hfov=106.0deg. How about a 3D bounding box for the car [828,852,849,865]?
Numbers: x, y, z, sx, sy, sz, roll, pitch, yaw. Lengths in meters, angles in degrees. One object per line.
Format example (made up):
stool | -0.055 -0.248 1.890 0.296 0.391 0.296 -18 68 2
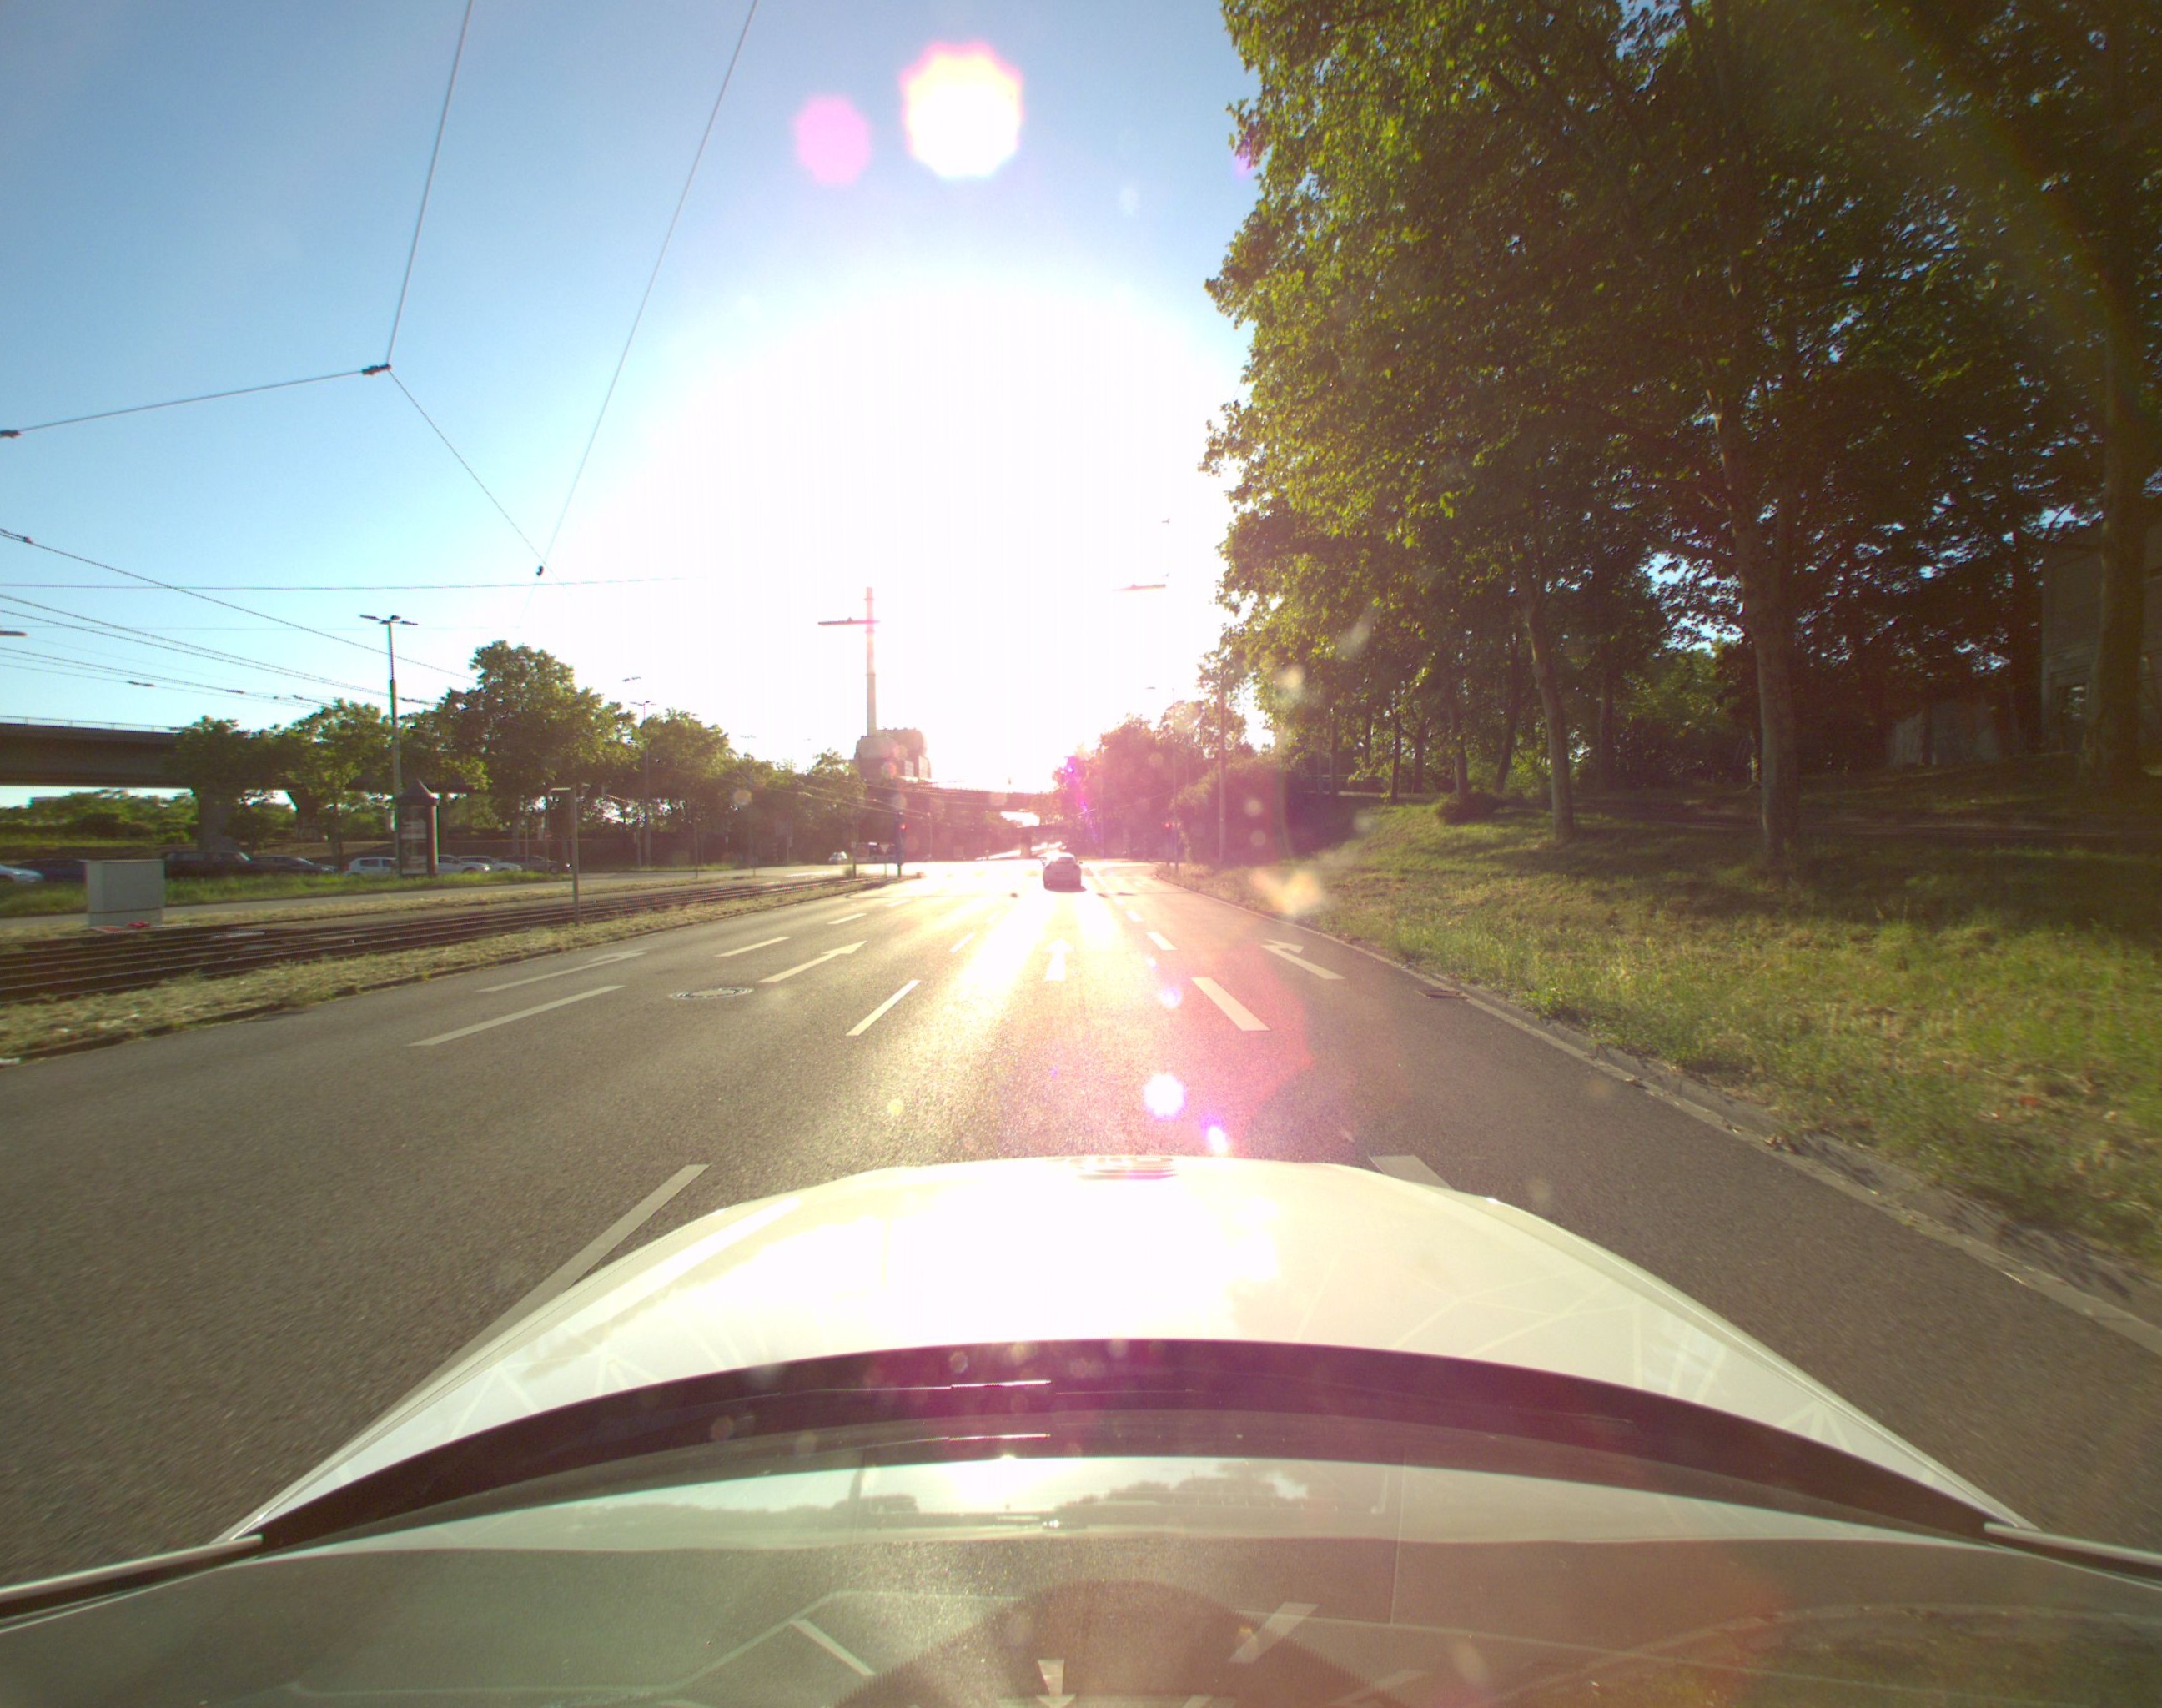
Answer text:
car | -29.972 0.551 100.676 1.603 1.512 4.004 0 0 -2

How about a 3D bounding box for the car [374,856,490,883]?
car | -40.440 0.941 50.912 5.375 1.574 1.727 0 0 -24

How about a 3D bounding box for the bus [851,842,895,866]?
bus | -29.617 0.114 116.576 2.534 3.130 12.923 -1 -1 2

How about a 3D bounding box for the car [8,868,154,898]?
car | -53.836 1.540 43.980 4.641 1.458 1.677 0 0 -32

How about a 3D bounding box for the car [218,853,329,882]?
car | -46.951 0.743 47.474 4.259 1.574 1.678 -1 0 -28

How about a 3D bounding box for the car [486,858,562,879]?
car | -40.278 1.013 59.020 4.460 1.405 1.654 0 0 -31

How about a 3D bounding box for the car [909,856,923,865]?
car | -28.868 1.107 142.295 1.601 1.419 4.009 0 0 1

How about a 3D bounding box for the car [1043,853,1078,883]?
car | -1.159 0.693 43.820 1.710 1.465 4.202 -1 1 -4

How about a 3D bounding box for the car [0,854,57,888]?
car | -53.745 0.792 39.478 4.781 1.574 1.678 1 1 -30

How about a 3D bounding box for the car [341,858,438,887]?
car | -40.192 1.032 47.452 4.009 1.574 1.679 0 0 -27

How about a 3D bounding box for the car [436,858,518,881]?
car | -40.670 1.017 54.921 4.207 1.405 1.655 0 0 -28

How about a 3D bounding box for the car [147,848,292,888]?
car | -46.070 0.711 43.740 4.960 1.991 2.017 -1 0 -31

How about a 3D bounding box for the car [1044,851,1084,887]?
car | -0.807 0.662 37.494 1.732 1.505 3.997 -1 1 -2
